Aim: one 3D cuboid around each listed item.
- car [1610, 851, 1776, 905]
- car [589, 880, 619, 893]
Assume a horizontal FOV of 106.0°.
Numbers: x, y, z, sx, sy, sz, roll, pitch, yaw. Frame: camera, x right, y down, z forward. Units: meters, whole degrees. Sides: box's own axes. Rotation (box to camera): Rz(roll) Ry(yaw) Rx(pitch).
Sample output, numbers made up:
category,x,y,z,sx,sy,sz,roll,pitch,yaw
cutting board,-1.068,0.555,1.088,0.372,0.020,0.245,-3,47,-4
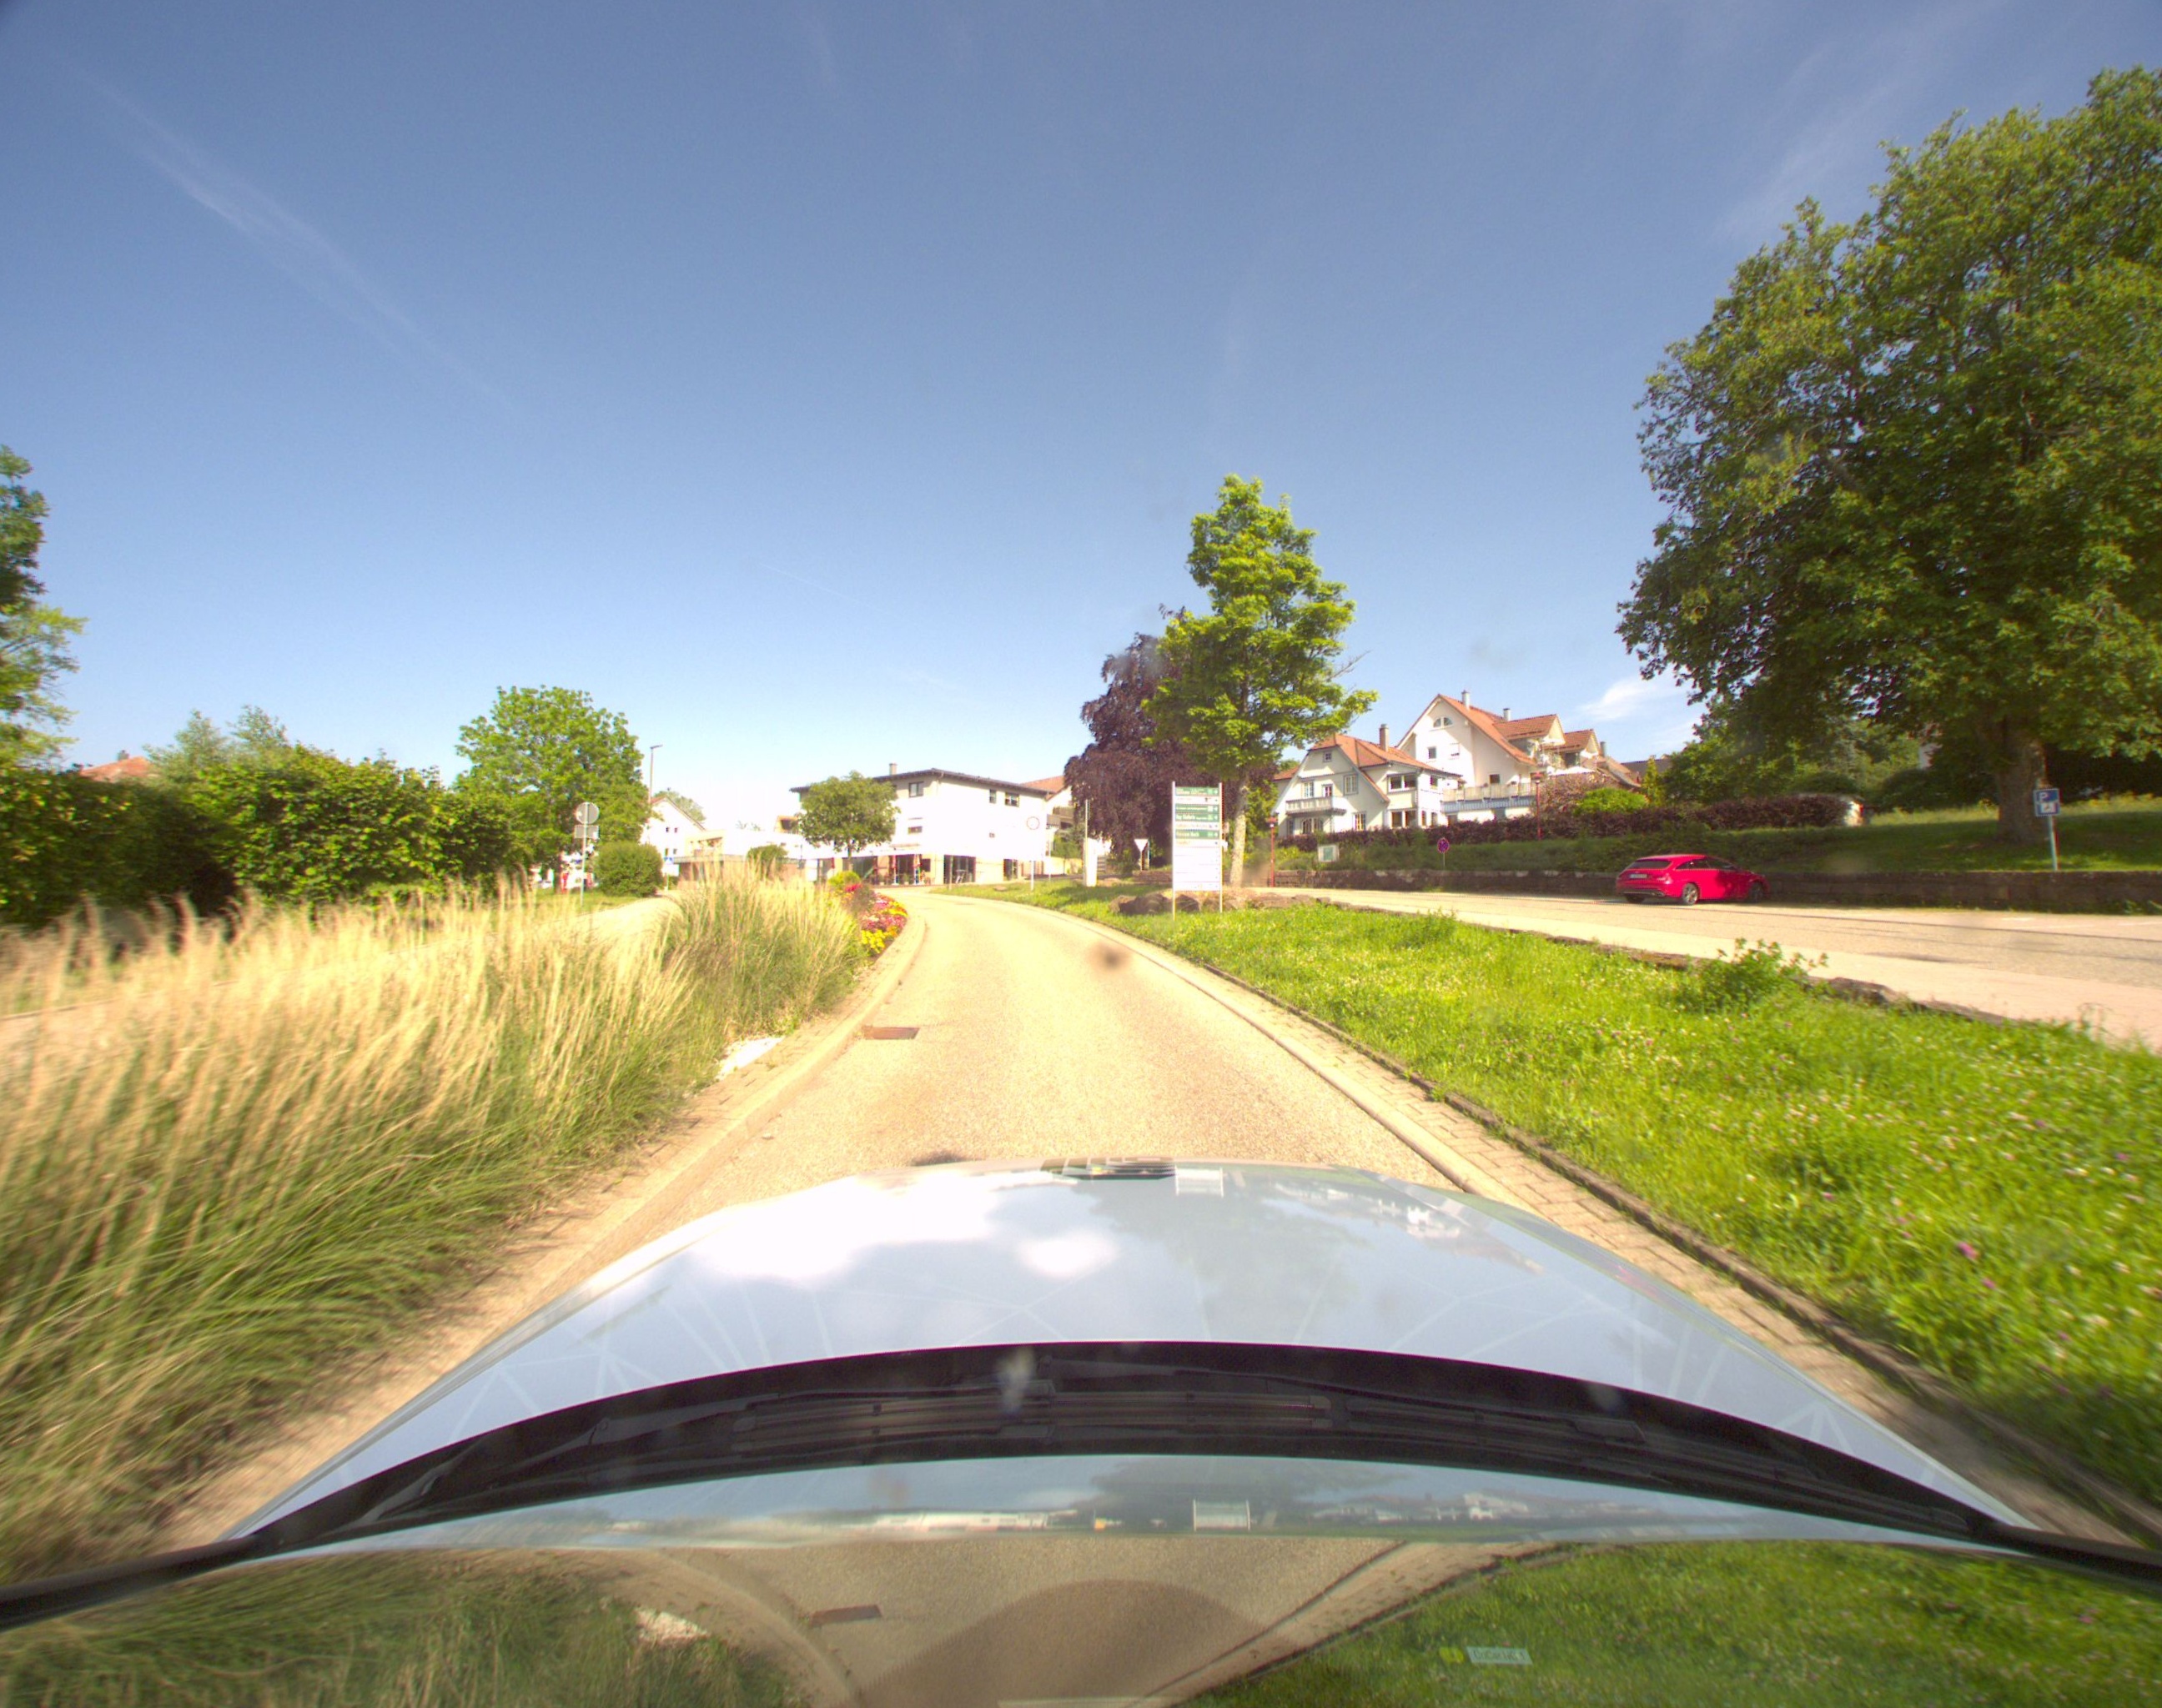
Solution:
category,x,y,z,sx,sy,sz,roll,pitch,yaw
car,17.763,0.670,23.666,4.264,1.429,1.692,0,-2,-18
car,-53.158,3.637,90.755,3.587,1.423,1.777,-3,-2,41
